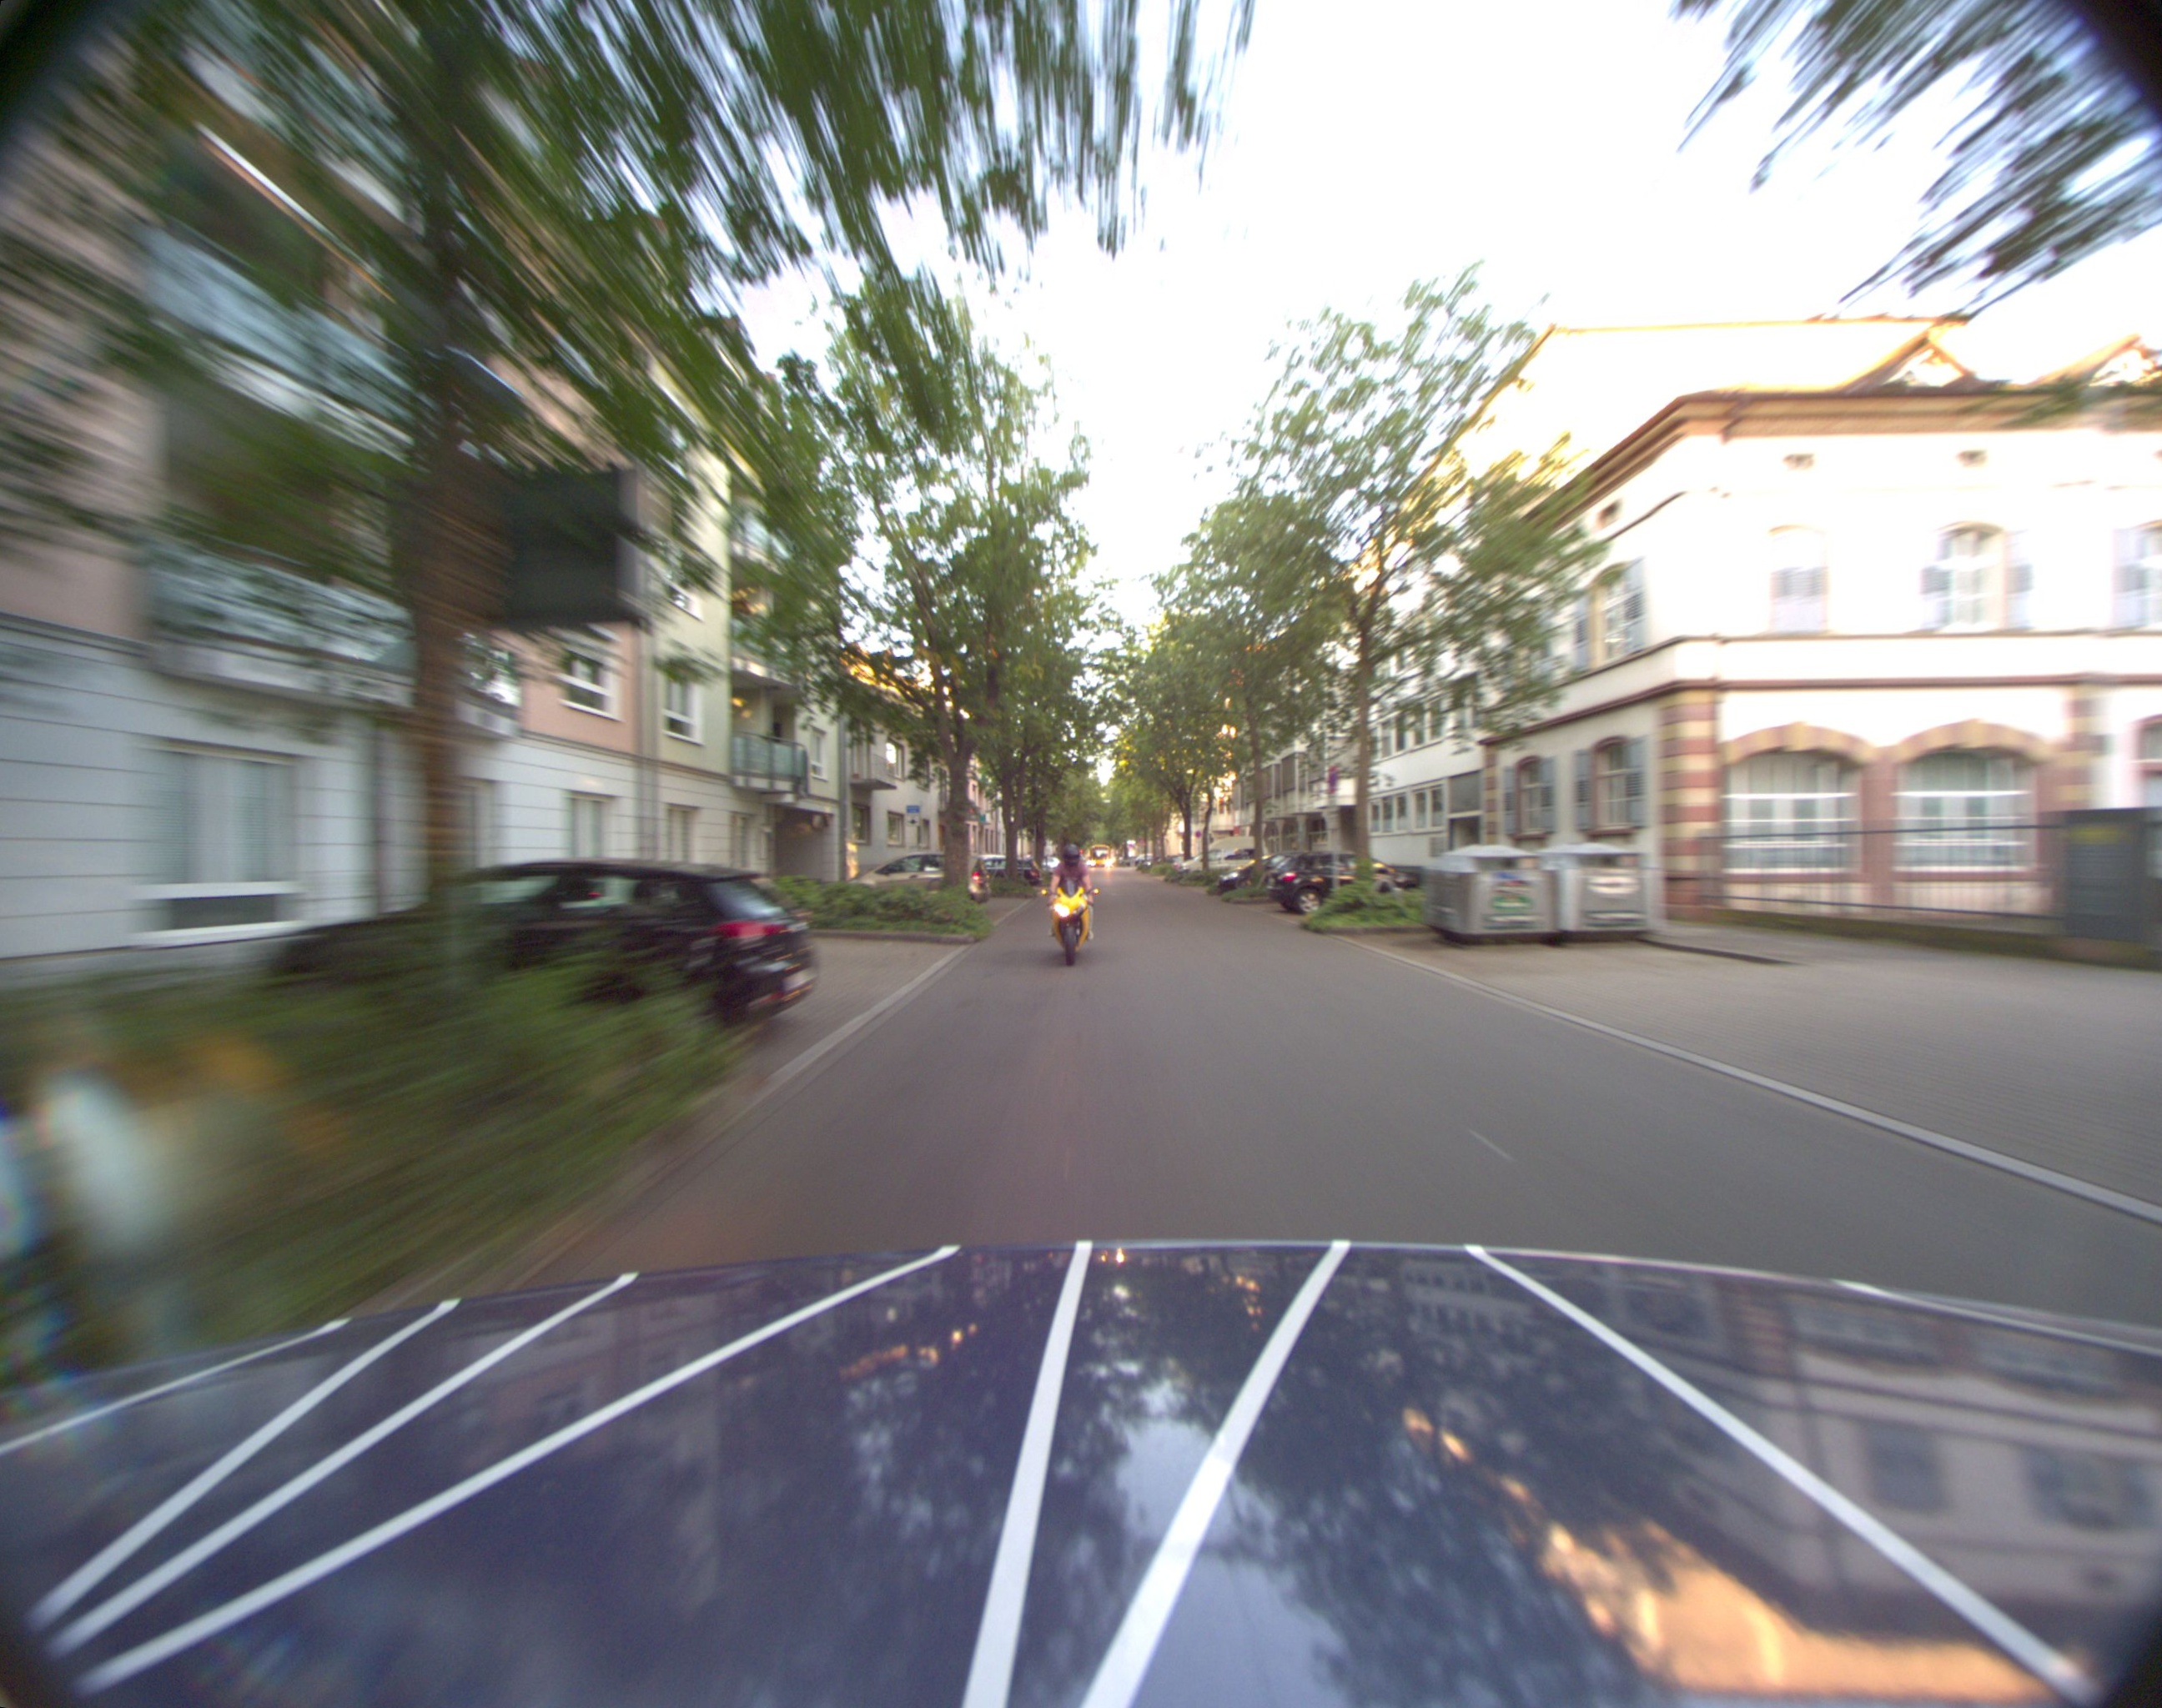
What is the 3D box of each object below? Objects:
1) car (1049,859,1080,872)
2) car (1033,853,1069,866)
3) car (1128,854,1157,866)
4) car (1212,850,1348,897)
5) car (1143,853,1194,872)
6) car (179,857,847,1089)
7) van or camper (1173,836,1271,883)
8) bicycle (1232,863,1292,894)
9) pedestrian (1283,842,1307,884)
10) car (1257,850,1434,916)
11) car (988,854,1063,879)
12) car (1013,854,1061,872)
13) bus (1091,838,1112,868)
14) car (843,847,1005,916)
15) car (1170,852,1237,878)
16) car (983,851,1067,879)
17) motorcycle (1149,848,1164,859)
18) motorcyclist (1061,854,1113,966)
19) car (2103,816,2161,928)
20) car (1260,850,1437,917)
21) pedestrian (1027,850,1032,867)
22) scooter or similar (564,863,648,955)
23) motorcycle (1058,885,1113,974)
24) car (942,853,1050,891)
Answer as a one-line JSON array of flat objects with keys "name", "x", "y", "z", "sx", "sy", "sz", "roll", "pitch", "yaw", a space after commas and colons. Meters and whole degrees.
[{"name": "car", "x": -2.183, "y": 1.482, "z": 98.368, "sx": 3.998, "sy": 1.752, "sz": 2.000, "roll": 0, "pitch": 0, "yaw": -2}, {"name": "car", "x": -3.293, "y": 0.602, "z": 84.297, "sx": 3.858, "sy": 1.390, "sz": 1.675, "roll": 1, "pitch": 0, "yaw": 1}, {"name": "car", "x": 8.473, "y": 0.813, "z": 104.121, "sx": 3.858, "sy": 1.623, "sz": 1.675, "roll": 1, "pitch": 0, "yaw": 1}, {"name": "car", "x": 7.263, "y": 0.686, "z": 27.982, "sx": 4.548, "sy": 1.673, "sz": 1.621, "roll": 0, "pitch": 0, "yaw": -3}, {"name": "car", "x": 7.960, "y": 0.750, "z": 69.285, "sx": 4.475, "sy": 1.748, "sz": 1.791, "roll": 0, "pitch": 0, "yaw": -2}, {"name": "car", "x": -4.247, "y": 0.861, "z": 6.304, "sx": 3.998, "sy": 1.466, "sz": 1.913, "roll": 3, "pitch": 0, "yaw": -3}, {"name": "van or camper", "x": 7.402, "y": 0.294, "z": 40.209, "sx": 4.829, "sy": 2.413, "sz": 1.945, "roll": 0, "pitch": 0, "yaw": 1}, {"name": "bicycle", "x": 6.140, "y": 0.821, "z": 25.779, "sx": 1.906, "sy": 1.019, "sz": 0.479, "roll": 0, "pitch": 1, "yaw": -1}, {"name": "pedestrian", "x": 10.330, "y": 0.436, "z": 36.692, "sx": 0.942, "sy": 2.002, "sz": 0.839, "roll": -1, "pitch": 1, "yaw": 5}, {"name": "car", "x": 6.858, "y": 0.731, "z": 19.972, "sx": 3.997, "sy": 1.579, "sz": 1.828, "roll": -1, "pitch": 0, "yaw": -1}, {"name": "car", "x": -3.551, "y": 0.762, "z": 48.769, "sx": 4.594, "sy": 1.461, "sz": 1.696, "roll": 1, "pitch": 0, "yaw": 2}, {"name": "car", "x": -3.595, "y": 0.703, "z": 62.740, "sx": 3.859, "sy": 1.390, "sz": 1.674, "roll": 1, "pitch": 0, "yaw": -3}, {"name": "bus", "x": 2.883, "y": -0.109, "z": 108.989, "sx": 2.833, "sy": 4.085, "sz": 7.832, "roll": 0, "pitch": 0, "yaw": 1}, {"name": "car", "x": -4.103, "y": 0.703, "z": 20.372, "sx": 3.872, "sy": 1.657, "sz": 1.926, "roll": 2, "pitch": 0, "yaw": 1}, {"name": "car", "x": 7.765, "y": 0.690, "z": 48.321, "sx": 4.062, "sy": 1.519, "sz": 1.622, "roll": -1, "pitch": 0, "yaw": 4}, {"name": "car", "x": -3.081, "y": 0.606, "z": 42.496, "sx": 4.456, "sy": 1.515, "sz": 1.952, "roll": 0, "pitch": 0, "yaw": 2}, {"name": "motorcycle", "x": 8.412, "y": -0.077, "z": 84.545, "sx": 1.626, "sy": 1.136, "sz": 0.572, "roll": -3, "pitch": 1, "yaw": 3}, {"name": "motorcyclist", "x": 0.069, "y": 0.803, "z": 11.347, "sx": 0.722, "sy": 1.605, "sz": 0.915, "roll": -1, "pitch": 1, "yaw": -2}, {"name": "car", "x": 18.147, "y": 0.326, "z": 10.576, "sx": 1.786, "sy": 1.796, "sz": 4.461, "roll": -1, "pitch": 2, "yaw": 1}, {"name": "car", "x": 6.930, "y": 0.741, "z": 19.977, "sx": 3.997, "sy": 1.582, "sz": 1.789, "roll": -1, "pitch": 0, "yaw": 1}, {"name": "pedestrian", "x": -6.112, "y": 0.545, "z": 90.208, "sx": 0.449, "sy": 2.002, "sz": 0.485, "roll": 0, "pitch": 1, "yaw": 1}, {"name": "scooter or similar", "x": -6.840, "y": 0.761, "z": 10.999, "sx": 0.400, "sy": 1.233, "sz": 1.253, "roll": -1, "pitch": 0, "yaw": 1}, {"name": "motorcycle", "x": 0.029, "y": 1.071, "z": 11.364, "sx": 0.736, "sy": 1.115, "sz": 2.108, "roll": -1, "pitch": 0, "yaw": -2}, {"name": "car", "x": -3.698, "y": 0.770, "z": 33.420, "sx": 4.366, "sy": 1.461, "sz": 1.732, "roll": 2, "pitch": 0, "yaw": 6}]
